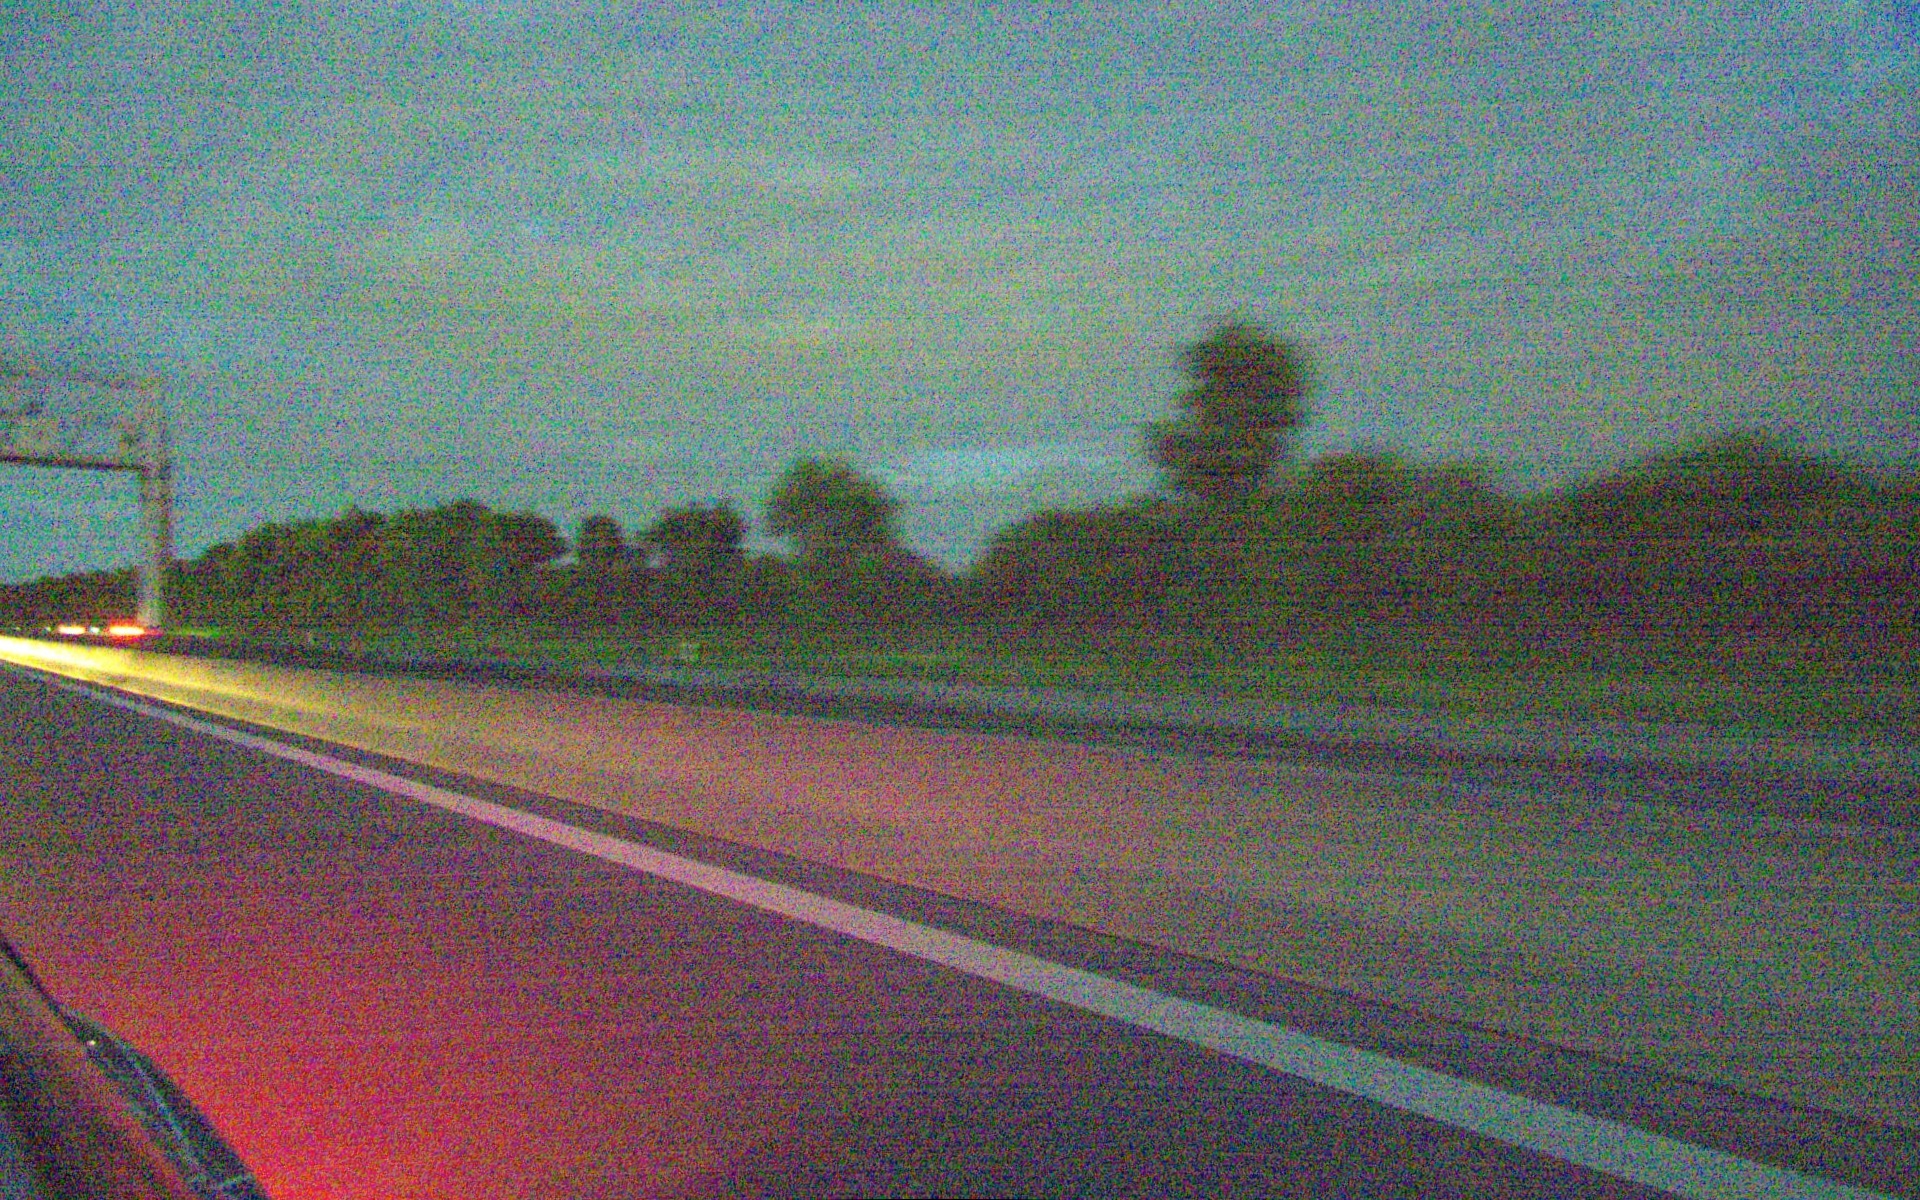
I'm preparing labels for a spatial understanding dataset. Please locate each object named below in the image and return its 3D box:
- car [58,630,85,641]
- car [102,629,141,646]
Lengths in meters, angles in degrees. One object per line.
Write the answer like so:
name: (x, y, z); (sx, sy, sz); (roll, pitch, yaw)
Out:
car: (-101.901, 4.055, 116.029); (4.349, 1.292, 1.883); (-2, -2, 42)
car: (-75.754, 3.371, 91.401); (5.184, 1.549, 1.942); (-2, -2, 43)
